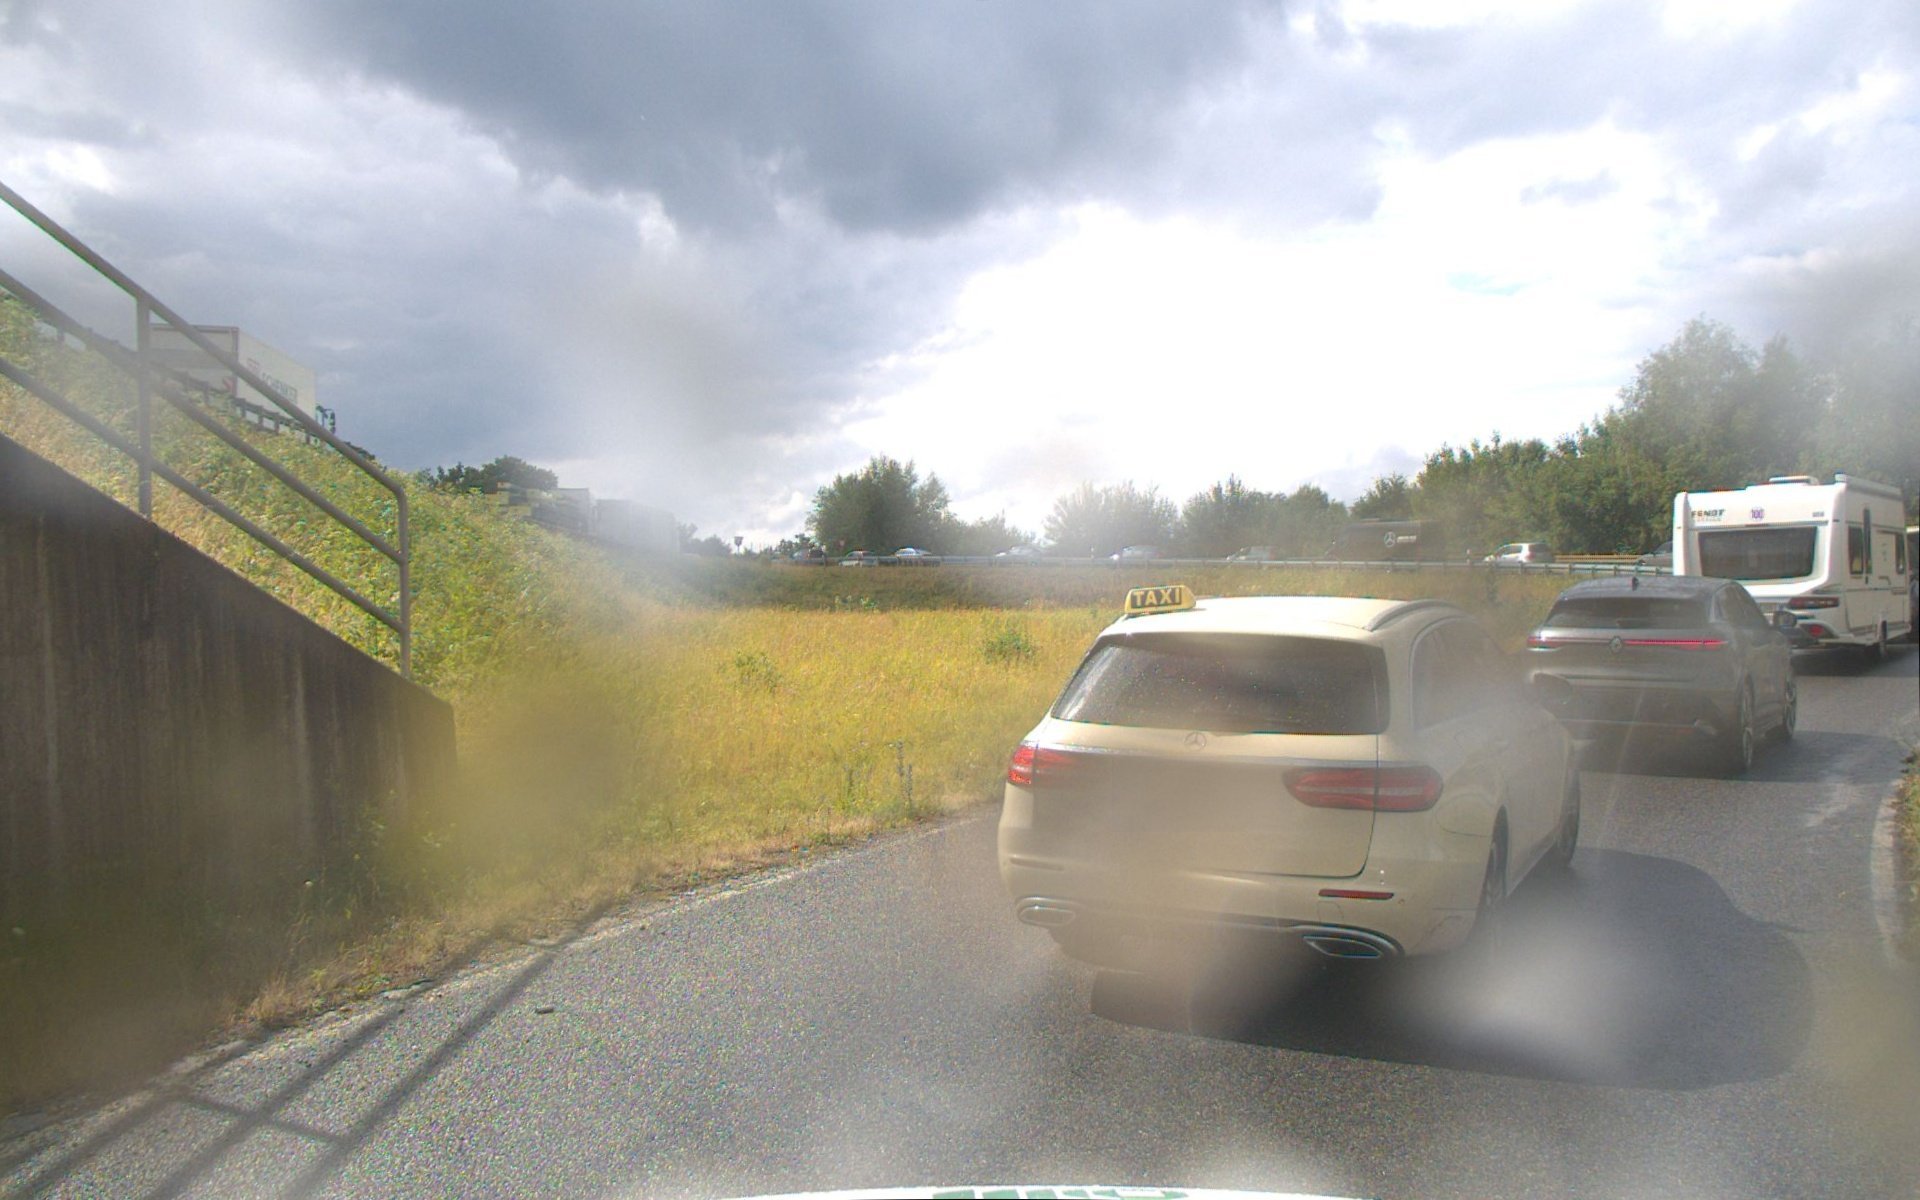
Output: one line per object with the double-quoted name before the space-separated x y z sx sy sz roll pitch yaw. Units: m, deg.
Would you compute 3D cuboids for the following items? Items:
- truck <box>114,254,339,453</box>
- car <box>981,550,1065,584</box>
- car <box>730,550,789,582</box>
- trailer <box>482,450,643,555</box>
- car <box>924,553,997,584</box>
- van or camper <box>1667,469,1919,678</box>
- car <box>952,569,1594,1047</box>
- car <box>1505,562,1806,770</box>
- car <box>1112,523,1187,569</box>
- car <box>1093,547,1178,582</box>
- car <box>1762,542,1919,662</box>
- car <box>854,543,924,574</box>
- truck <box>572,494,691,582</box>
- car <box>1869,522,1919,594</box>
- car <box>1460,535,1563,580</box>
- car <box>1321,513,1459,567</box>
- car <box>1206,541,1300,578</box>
"truck" -21.035 -6.888 48.160 3.118 4.036 9.225 0 -2 -5
"car" 3.968 -2.061 104.766 4.951 1.894 1.994 -2 -1 33
"car" -13.541 -2.270 111.762 3.910 2.049 1.824 0 -2 -6
"trailer" -22.119 -5.239 94.143 4.323 4.026 20.213 0 -2 0
"car" 0.011 -2.088 110.528 4.407 1.894 1.998 -2 -1 26
"van or camper" 12.788 -0.355 25.100 2.391 2.777 5.974 0 0 38
"car" 1.798 0.682 7.796 1.878 1.534 4.592 0 0 25
"car" 6.193 0.482 14.473 1.688 1.551 3.988 -2 0 33
"car" 11.451 -3.259 100.091 3.920 2.049 1.992 -9 -8 35
"car" 10.632 -2.111 100.644 4.971 1.894 1.986 -2 -1 44
"car" 16.429 -0.046 29.827 2.389 1.959 5.734 0 1 38
"car" -5.044 -2.913 117.111 4.966 1.894 1.988 -2 -1 42
"truck" -22.213 -3.997 113.586 4.369 4.582 19.371 0 -2 0
"car" 27.139 -1.157 46.626 1.953 1.894 5.057 -2 -1 22
"car" 26.480 -2.011 79.638 1.965 1.894 5.026 -1 -1 -20
"car" 22.579 -3.132 87.150 2.842 2.640 6.898 -2 1 -35
"car" 16.760 -2.274 94.774 4.966 1.894 1.988 -2 -1 42
